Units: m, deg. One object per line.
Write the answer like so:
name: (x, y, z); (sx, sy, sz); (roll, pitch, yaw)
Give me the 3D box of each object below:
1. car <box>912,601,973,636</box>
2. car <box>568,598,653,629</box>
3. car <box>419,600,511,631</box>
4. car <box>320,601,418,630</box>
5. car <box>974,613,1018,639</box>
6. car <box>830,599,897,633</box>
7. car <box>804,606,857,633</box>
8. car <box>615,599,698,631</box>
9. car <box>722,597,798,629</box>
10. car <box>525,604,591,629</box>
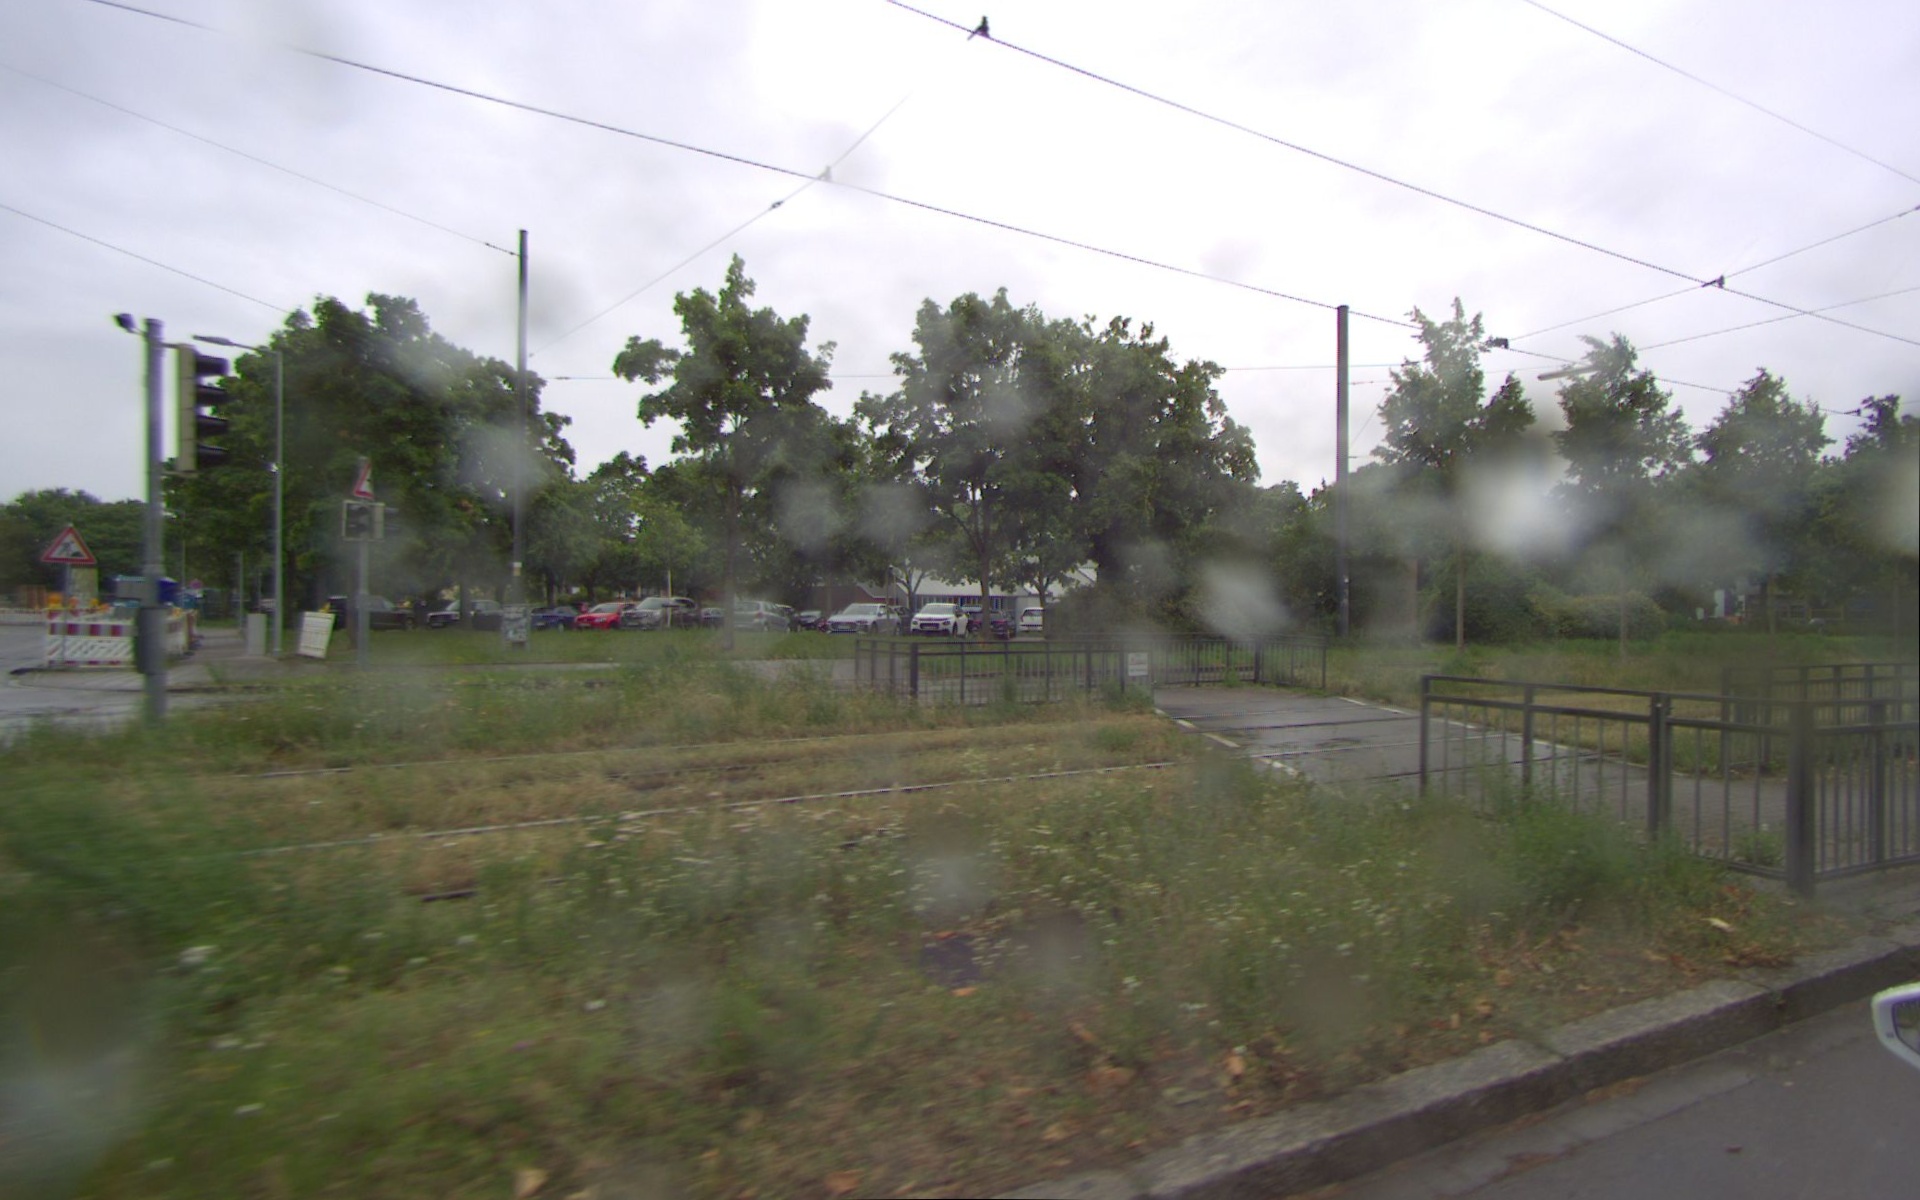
car: (-0.637, 0.719, 39.003); (1.631, 1.265, 3.745); (0, -1, 11)
car: (-14.630, 0.577, 42.225); (1.632, 1.265, 3.744); (0, -1, 13)
car: (-21.756, 0.689, 44.281); (1.632, 1.265, 3.744); (0, -1, 13)
car: (-26.363, 0.703, 44.942); (1.632, 1.265, 3.744); (0, -1, 13)
car: (1.832, 1.269, 49.660); (1.631, 1.265, 3.745); (0, -1, 11)
car: (-3.720, 0.615, 39.419); (1.631, 1.265, 3.745); (0, -1, 11)
car: (-6.610, 0.992, 51.619); (1.631, 1.343, 3.745); (0, -1, 11)
car: (-12.458, 0.618, 41.451); (1.632, 1.265, 3.744); (0, -1, 13)
car: (-8.173, 0.532, 41.325); (1.632, 1.265, 3.744); (0, -1, 13)
car: (-22.306, 0.900, 55.869); (1.631, 1.343, 3.745); (0, -1, 11)
